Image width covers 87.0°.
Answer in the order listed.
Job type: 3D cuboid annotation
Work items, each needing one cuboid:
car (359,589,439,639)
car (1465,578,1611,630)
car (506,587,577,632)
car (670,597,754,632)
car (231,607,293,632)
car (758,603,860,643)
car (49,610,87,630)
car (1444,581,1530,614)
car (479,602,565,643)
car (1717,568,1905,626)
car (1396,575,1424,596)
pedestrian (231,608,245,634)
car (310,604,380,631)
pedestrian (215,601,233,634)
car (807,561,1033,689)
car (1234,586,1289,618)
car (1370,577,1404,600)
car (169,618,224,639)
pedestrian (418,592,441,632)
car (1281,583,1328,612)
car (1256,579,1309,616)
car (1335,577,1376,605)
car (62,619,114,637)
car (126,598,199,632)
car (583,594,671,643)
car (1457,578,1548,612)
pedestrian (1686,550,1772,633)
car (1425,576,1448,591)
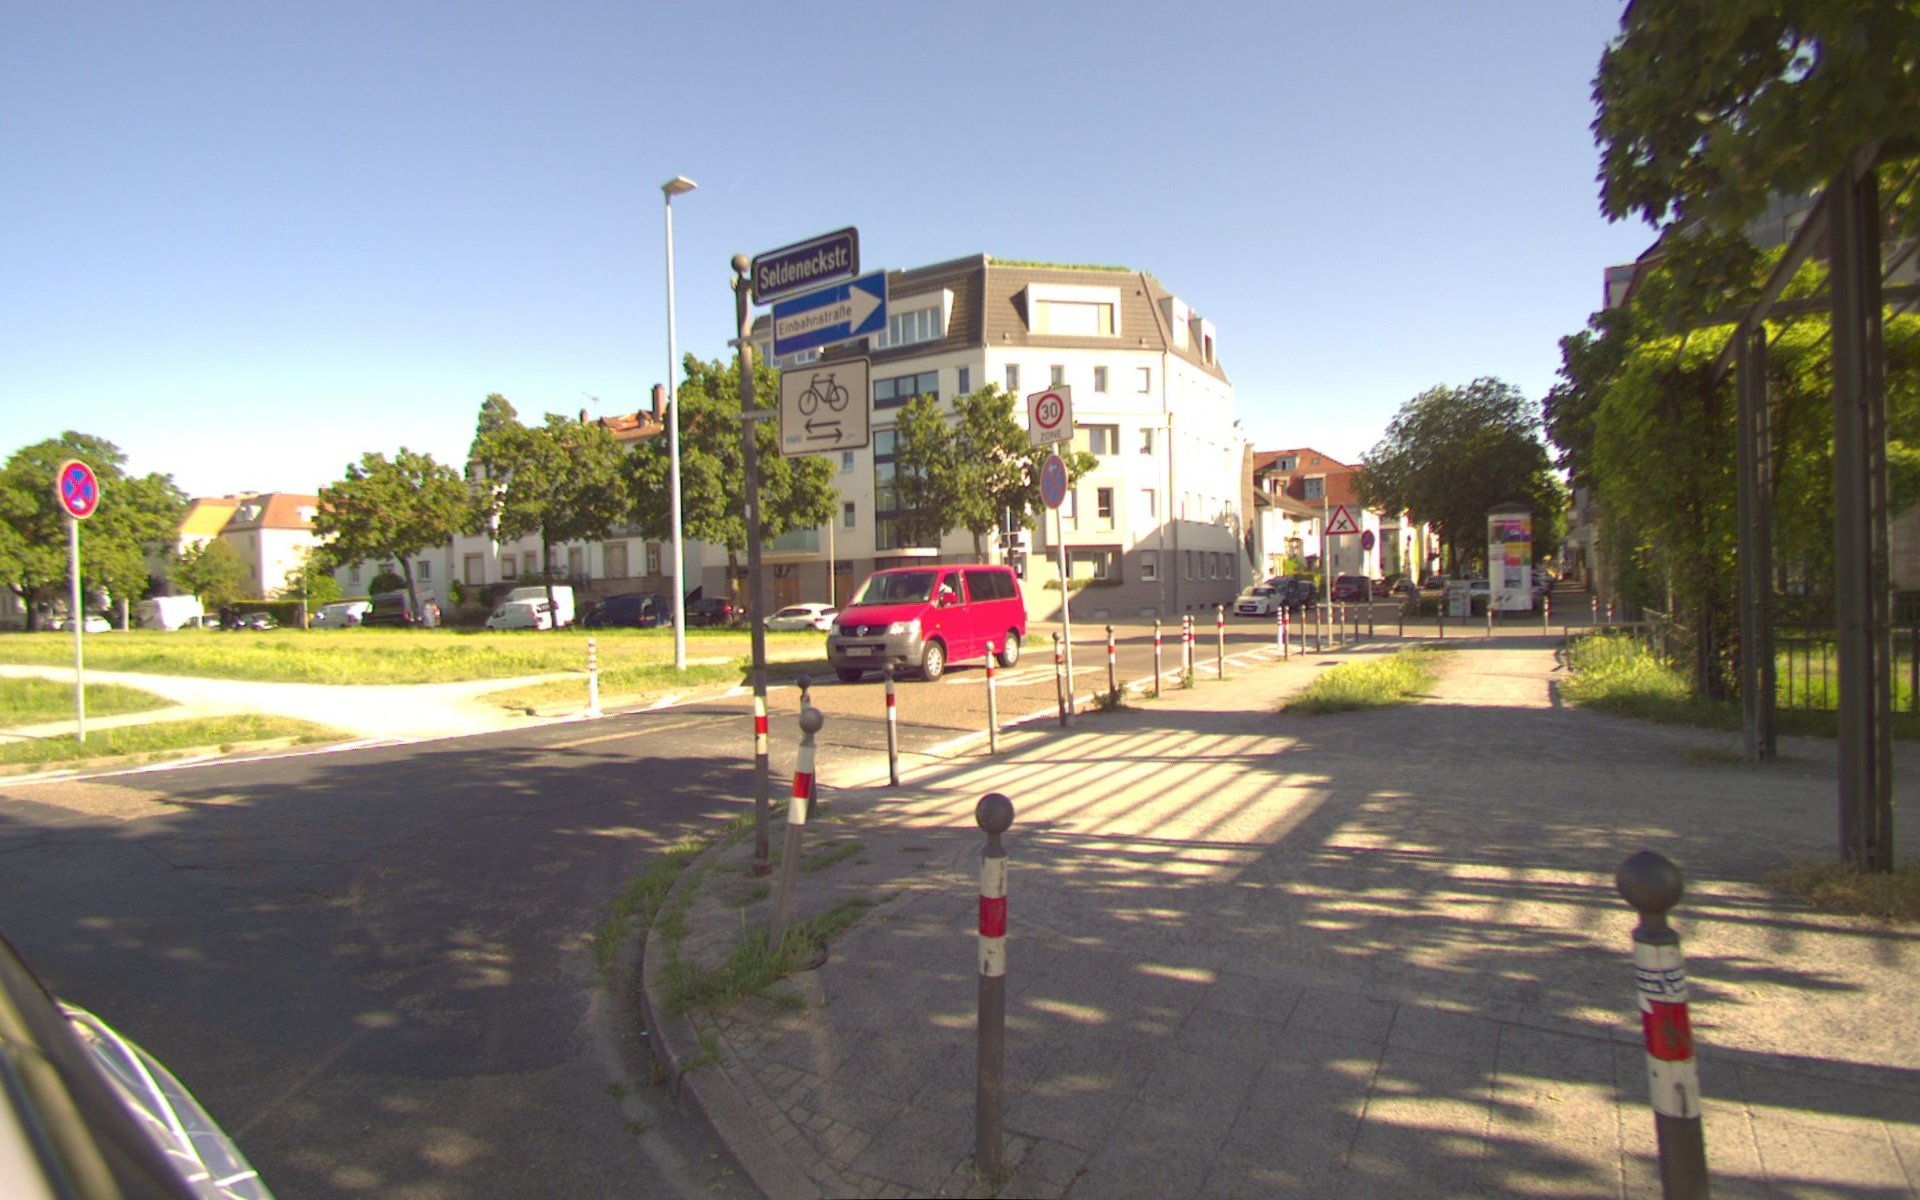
[{"bbox_3d":[-32.556,0.821,58.706,4.275,2.603,2.170,-1,4,33],"label":"car"},{"bbox_3d":[18.804,0.146,33.093,3.997,1.494,1.850,-1,3,29],"label":"car"},{"bbox_3d":[-25.395,0.596,61.362,3.982,2.567,2.001,-1,1,33],"label":"car"},{"bbox_3d":[-13.165,0.767,53.634,4.276,1.695,1.875,-1,1,33],"label":"car"},{"bbox_3d":[-47.434,1.333,68.759,4.275,1.611,2.062,-1,0,33],"label":"car"},{"bbox_3d":[-6.350,0.979,42.451,3.981,1.443,1.722,-1,4,32],"label":"car"},{"bbox_3d":[-89.649,2.026,101.697,3.982,1.859,1.845,-1,0,33],"label":"car"},{"bbox_3d":[26.822,-0.145,51.563,3.775,1.506,1.675,-3,0,29],"label":"car"},{"bbox_3d":[-22.822,1.166,52.663,4.410,1.897,1.857,-1,4,33],"label":"car"},{"bbox_3d":[24.795,-0.078,29.664,3.888,1.494,1.850,-1,3,29],"label":"car"},{"bbox_3d":[43.132,-1.397,96.956,1.879,1.885,4.354,-1,0,32],"label":"car"},{"bbox_3d":[-42.369,1.240,59.401,0.533,1.516,0.491,-1,0,32],"label":"pedestrian"},{"bbox_3d":[-38.150,1.088,62.736,4.275,1.611,2.062,-1,0,33],"label":"car"},{"bbox_3d":[-42.885,1.000,58.995,0.627,1.891,0.638,-1,0,31],"label":"pedestrian"},{"bbox_3d":[-0.527,0.358,18.214,1.888,1.975,4.841,-1,0,28],"label":"car"},{"bbox_3d":[14.796,0.064,49.552,1.661,1.459,3.649,2,2,31],"label":"car"},{"bbox_3d":[35.300,-0.980,83.580,1.879,1.885,4.354,2,2,32],"label":"car"},{"bbox_3d":[-54.390,2.023,72.079,4.098,1.355,1.913,-1,0,33],"label":"car"},{"bbox_3d":[-24.938,0.560,47.548,0.627,1.891,0.717,-1,0,31],"label":"pedestrian"},{"bbox_3d":[19.749,-0.172,57.968,1.661,1.553,4.022,2,2,32],"label":"car"},{"bbox_3d":[17.044,-0.176,53.354,1.661,1.849,4.211,2,2,32],"label":"car"},{"bbox_3d":[28.108,-0.682,71.861,1.879,1.885,4.354,2,2,32],"label":"car"},{"bbox_3d":[-72.654,2.333,84.277,4.714,1.477,2.058,-1,0,33],"label":"car"},{"bbox_3d":[-59.828,1.133,75.902,5.902,2.351,2.523,-1,0,33],"label":"car"},{"bbox_3d":[-15.882,0.876,48.195,3.982,2.098,1.765,-1,4,33],"label":"car"},{"bbox_3d":[26.389,-0.224,49.282,3.775,1.455,1.675,-3,0,29],"label":"car"},{"bbox_3d":[16.660,-0.177,21.956,1.079,1.686,0.910,-5,-1,13],"label":"pedestrian"},{"bbox_3d":[56.214,-1.950,119.387,1.879,1.757,4.354,-1,0,32],"label":"car"}]
